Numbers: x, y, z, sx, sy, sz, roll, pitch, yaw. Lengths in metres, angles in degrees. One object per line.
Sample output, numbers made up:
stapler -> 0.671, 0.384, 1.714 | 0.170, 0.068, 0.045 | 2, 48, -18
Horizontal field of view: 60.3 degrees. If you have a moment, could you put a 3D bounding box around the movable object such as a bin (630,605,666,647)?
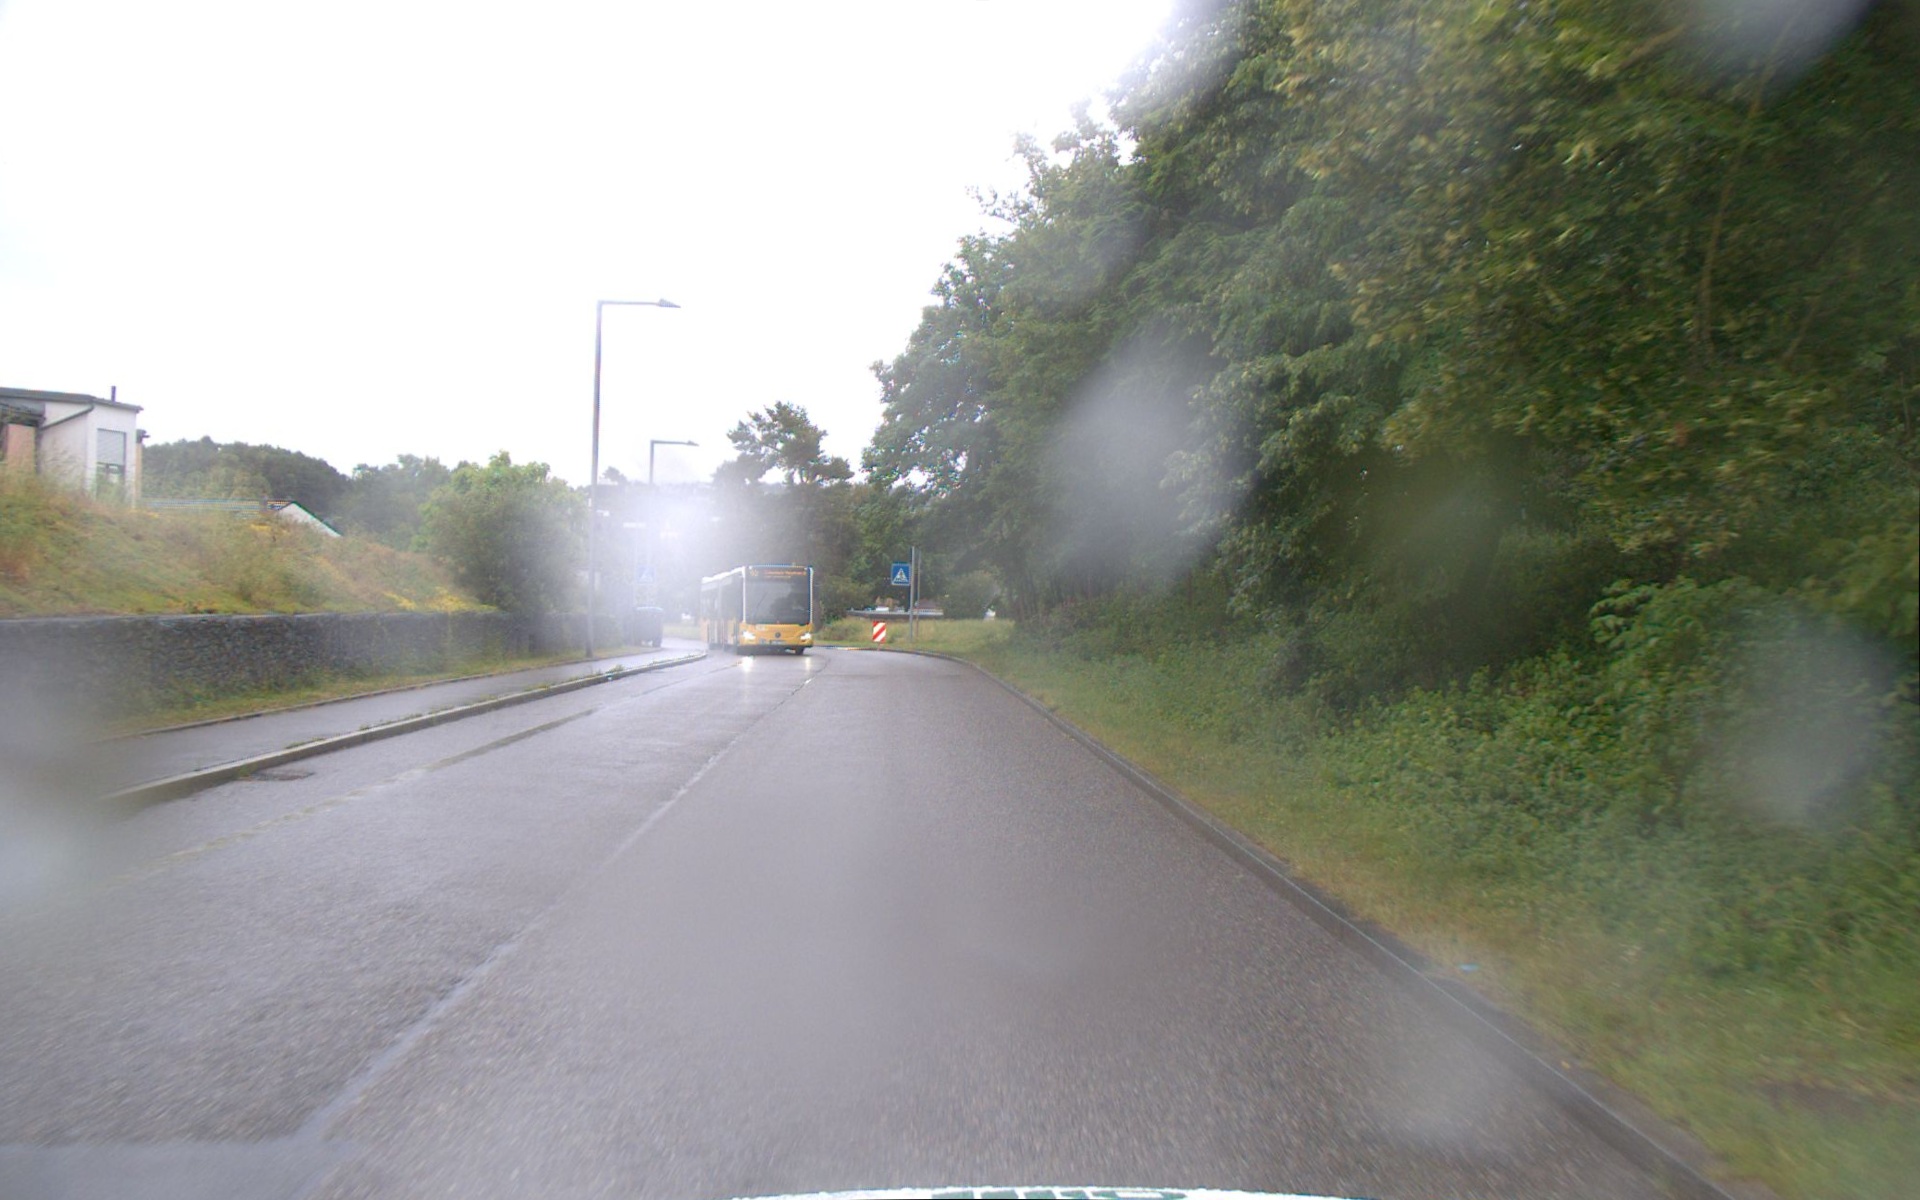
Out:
movable object such as a bin -> -10.848, 0.888, 57.486 | 1.111, 1.362, 1.394 | 4, -1, -12

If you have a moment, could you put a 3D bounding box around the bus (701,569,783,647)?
bus -> -9.228, 0.366, 69.520 | 2.595, 3.086, 7.638 | 1, -1, -14

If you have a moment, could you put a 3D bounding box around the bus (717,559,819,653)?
bus -> -7.165, 0.270, 60.454 | 2.594, 3.121, 10.819 | 0, -1, -13
